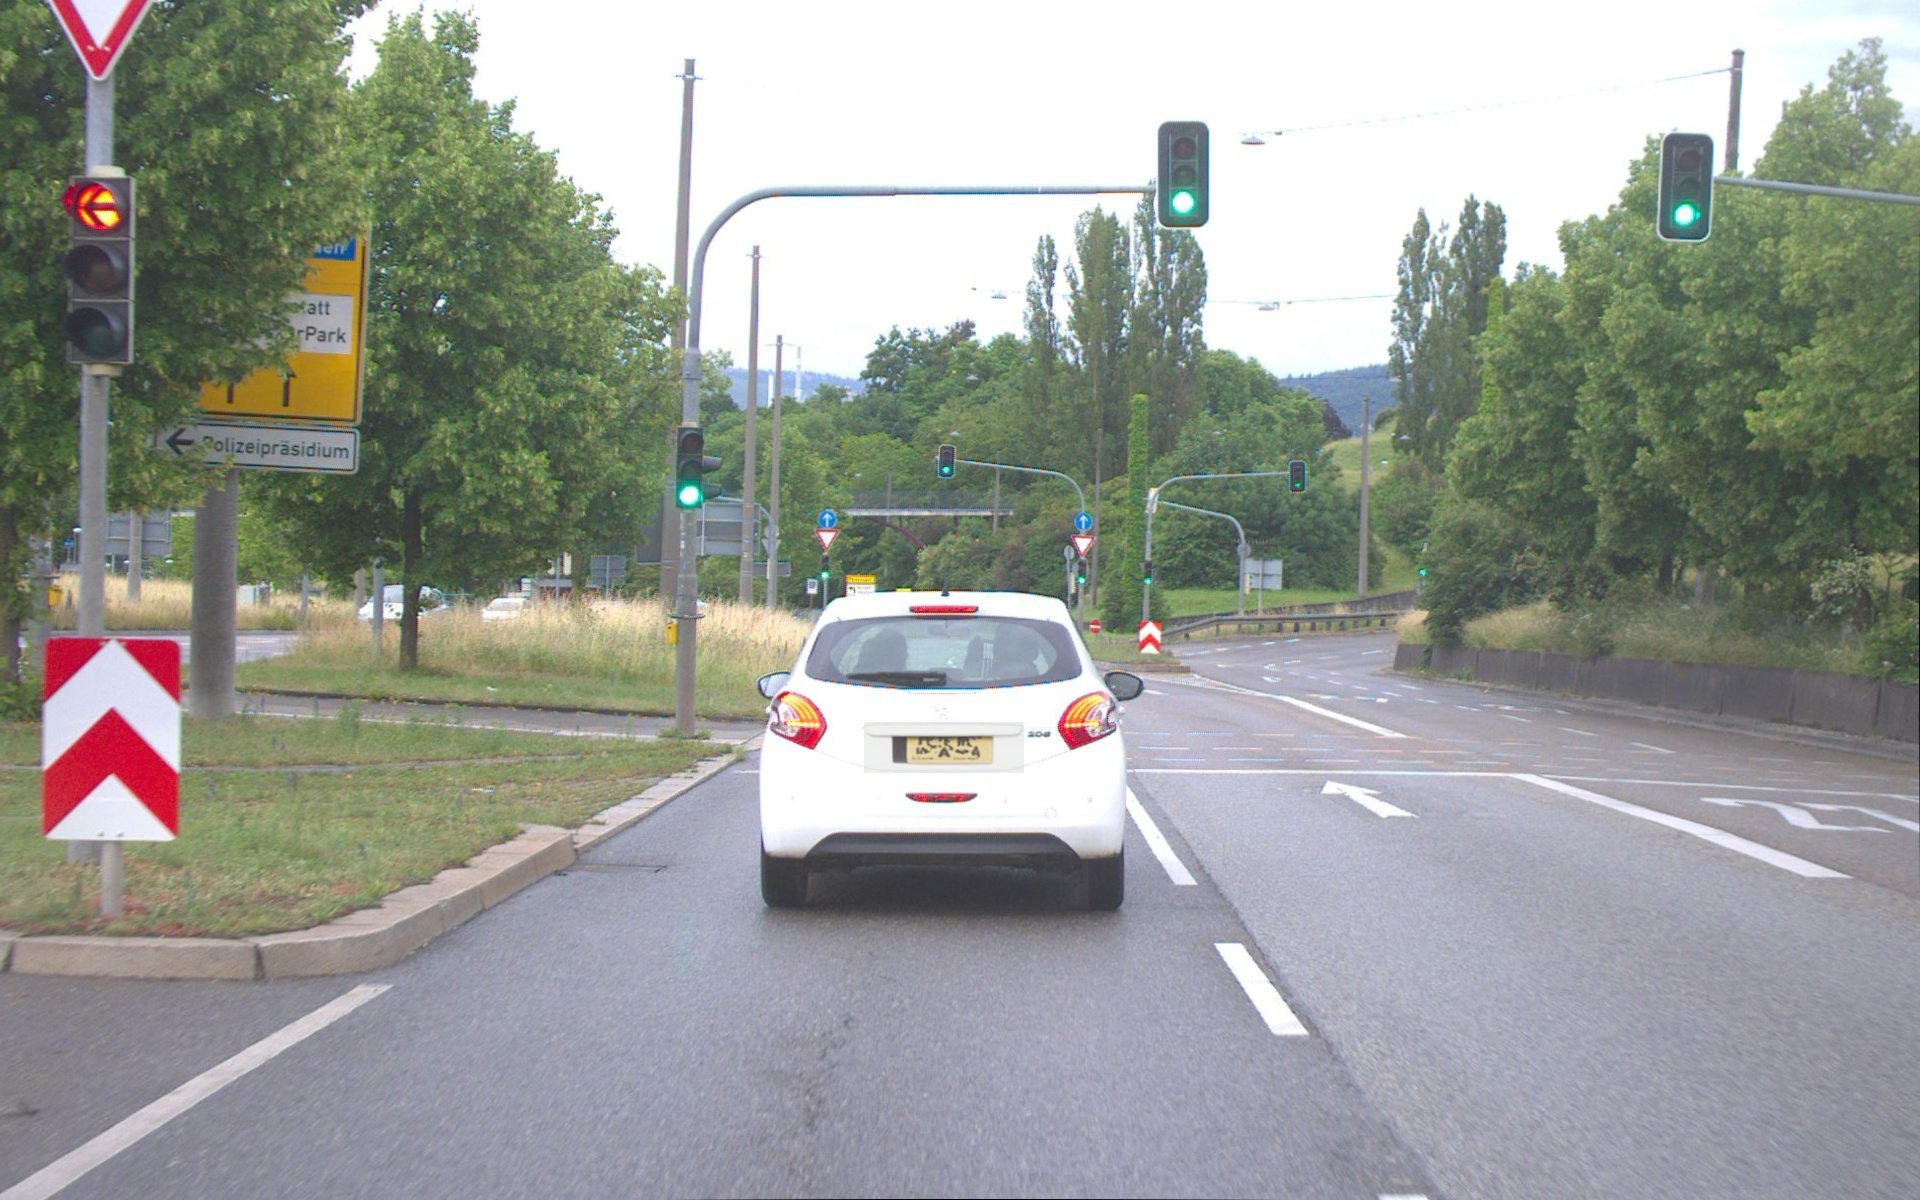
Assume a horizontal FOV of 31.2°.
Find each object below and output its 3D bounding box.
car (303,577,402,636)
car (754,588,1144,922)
[{"bbox_3d":[-15.197,0.169,86.224,1.538,1.384,3.927,2,0,3],"label":"car"},{"bbox_3d":[-0.036,0.672,16.953,1.708,1.435,3.690,0,1,0],"label":"car"}]
